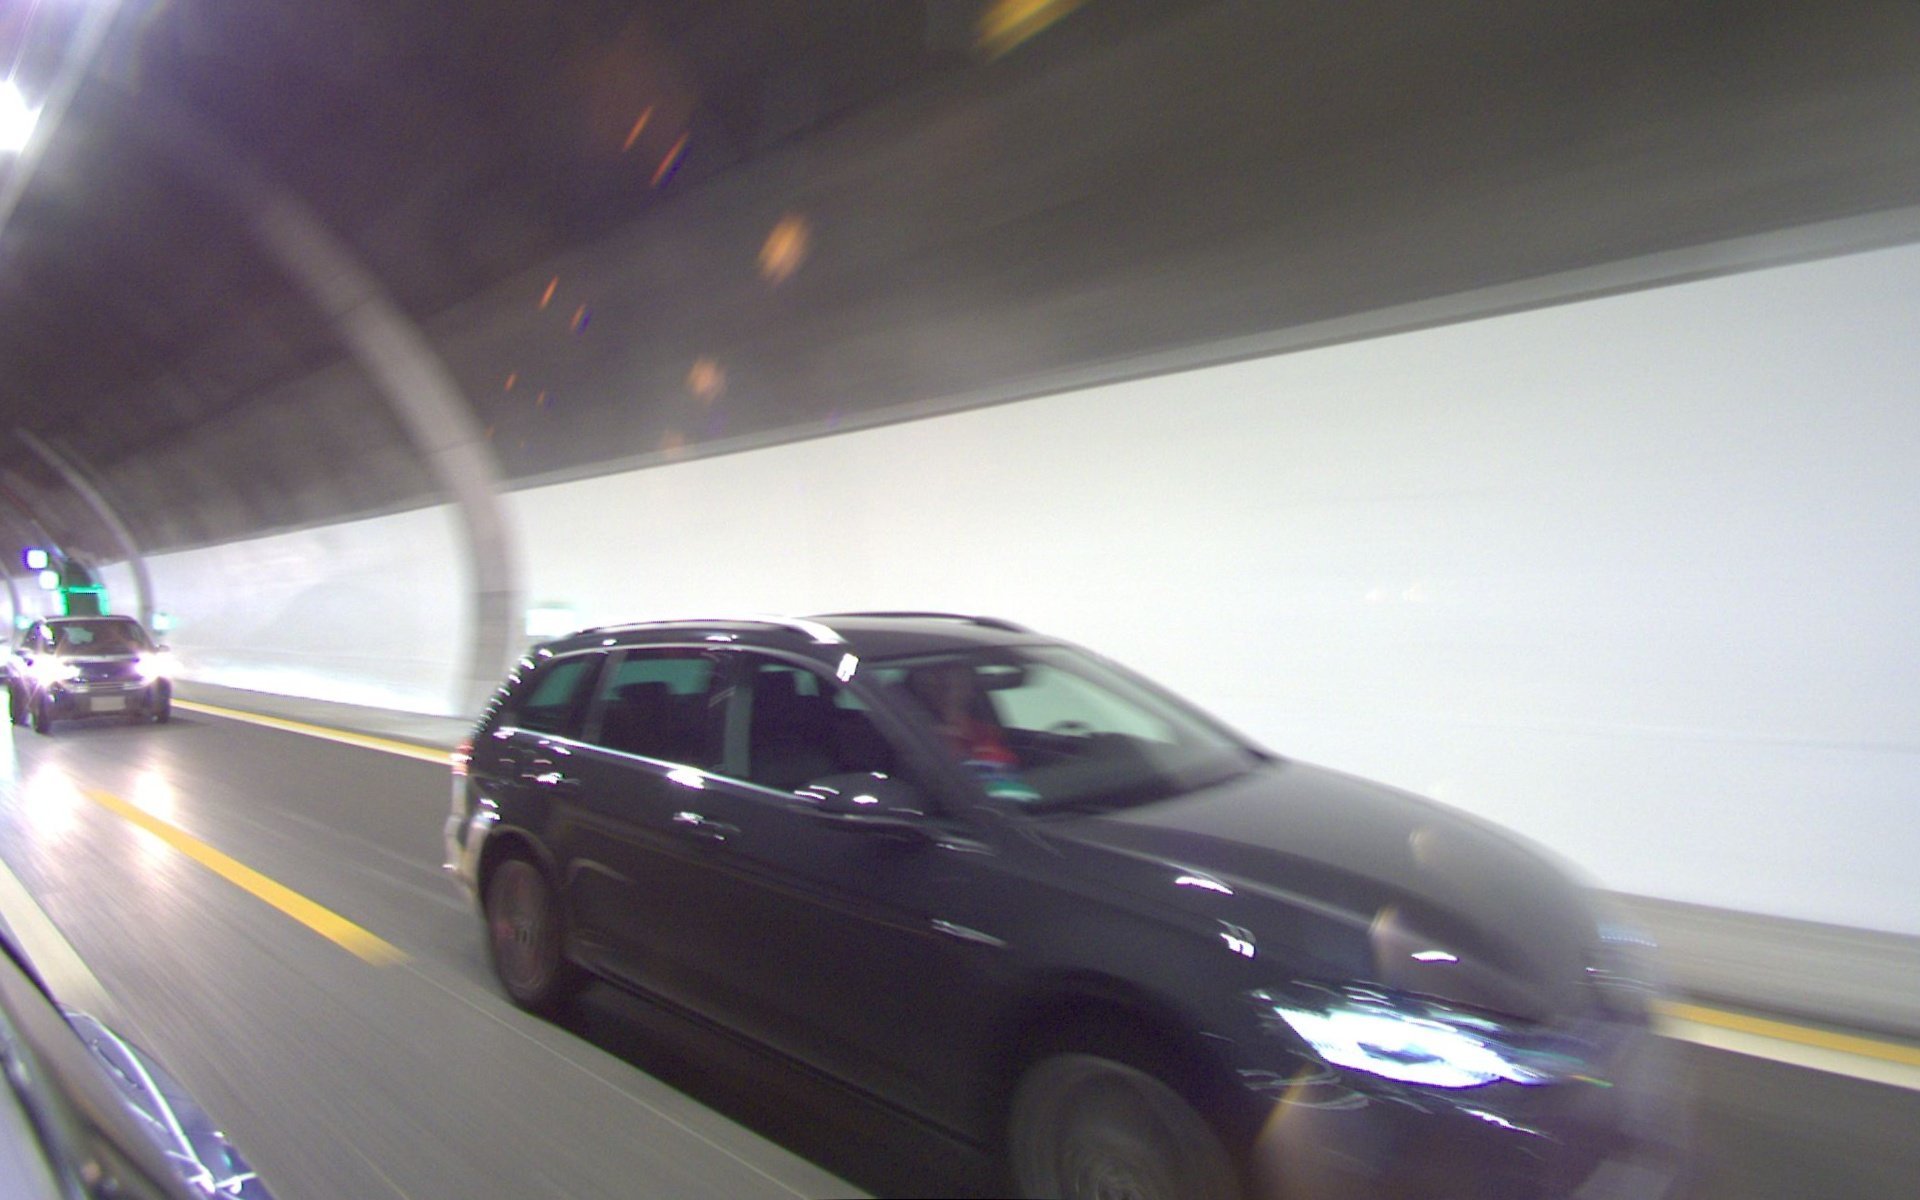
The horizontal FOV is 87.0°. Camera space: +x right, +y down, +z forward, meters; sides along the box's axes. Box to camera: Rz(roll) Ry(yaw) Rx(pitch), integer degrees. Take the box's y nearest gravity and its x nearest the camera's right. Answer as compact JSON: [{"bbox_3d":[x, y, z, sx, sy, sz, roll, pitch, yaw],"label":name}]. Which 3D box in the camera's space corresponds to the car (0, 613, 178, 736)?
[{"bbox_3d":[-12.274,0.966,14.178,2.648,1.528,1.512,-1,-1,39],"label":"car"}]

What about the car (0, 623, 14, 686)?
[{"bbox_3d":[-23.629,1.274,23.615,4.059,1.431,1.885,-1,-1,41],"label":"car"}]

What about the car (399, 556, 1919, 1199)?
[{"bbox_3d":[0.035,0.702,3.361,4.880,1.449,1.759,-1,0,41],"label":"car"}]
